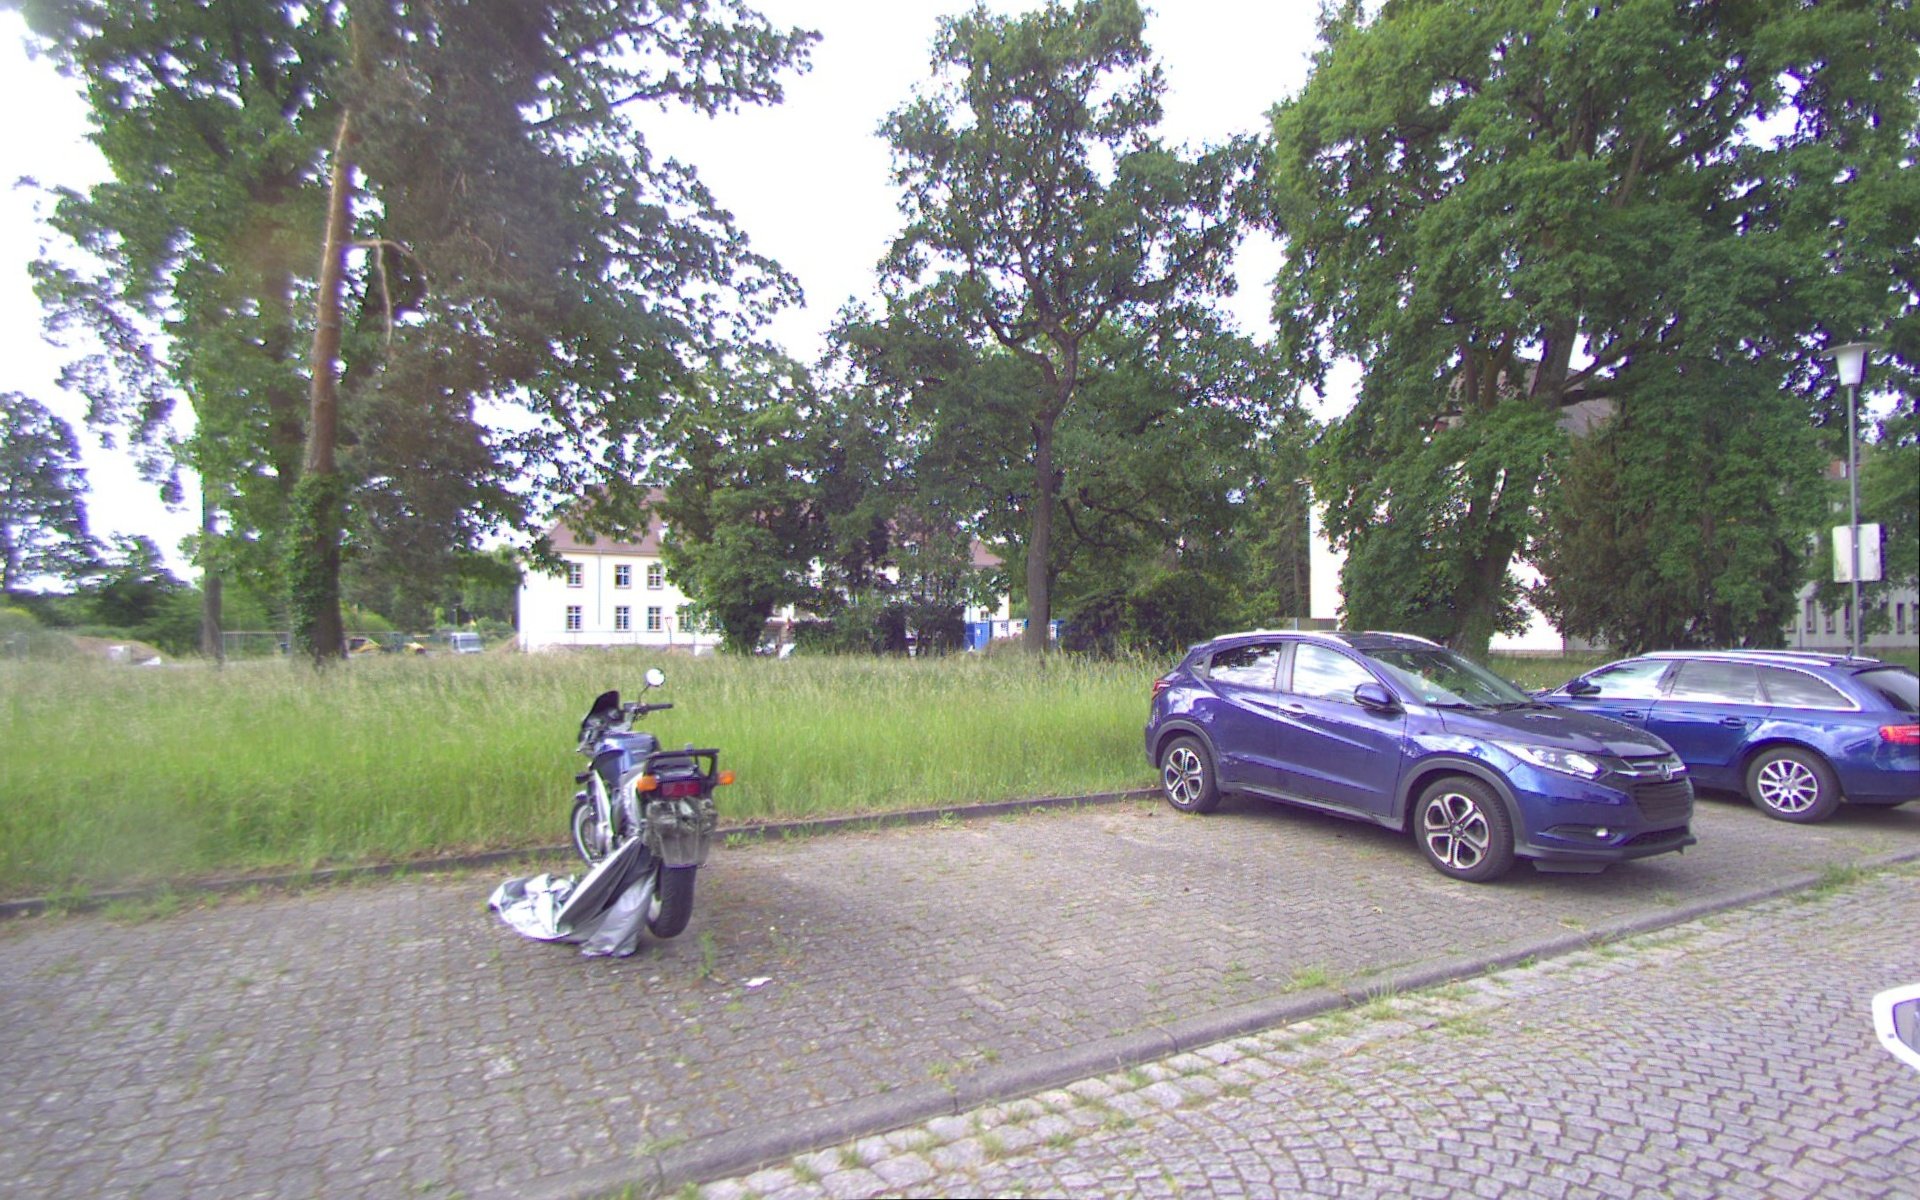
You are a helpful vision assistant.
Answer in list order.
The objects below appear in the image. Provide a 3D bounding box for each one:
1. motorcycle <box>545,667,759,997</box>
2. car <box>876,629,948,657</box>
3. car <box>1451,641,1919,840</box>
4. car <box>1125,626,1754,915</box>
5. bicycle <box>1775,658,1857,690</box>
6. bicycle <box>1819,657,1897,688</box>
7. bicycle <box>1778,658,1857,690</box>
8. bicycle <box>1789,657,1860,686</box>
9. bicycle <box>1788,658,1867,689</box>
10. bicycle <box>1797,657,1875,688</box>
[{"bbox_3d":[-1.781,1.082,5.523,0.710,1.309,2.265,1,-1,-28],"label":"motorcycle"},{"bbox_3d":[-3.634,3.313,76.607,5.163,2.040,1.987,2,-3,-27],"label":"car"},{"bbox_3d":[7.503,1.197,10.142,1.950,1.480,4.287,1,-1,-27],"label":"car"},{"bbox_3d":[3.381,1.023,7.961,1.865,1.598,4.208,1,-1,-30],"label":"car"},{"bbox_3d":[27.658,2.379,32.499,1.931,1.002,0.625,-2,-3,35],"label":"bicycle"},{"bbox_3d":[31.362,2.523,35.103,0.621,1.002,1.942,2,-3,-39],"label":"bicycle"},{"bbox_3d":[28.016,2.398,32.854,1.934,1.002,0.624,-2,-3,39],"label":"bicycle"},{"bbox_3d":[31.889,2.624,37.090,1.938,1.002,0.623,-2,-3,45],"label":"bicycle"},{"bbox_3d":[29.321,2.460,33.987,1.931,1.002,0.625,-2,-3,35],"label":"bicycle"},{"bbox_3d":[30.365,2.508,34.855,0.621,1.002,1.942,2,-3,-39],"label":"bicycle"}]
